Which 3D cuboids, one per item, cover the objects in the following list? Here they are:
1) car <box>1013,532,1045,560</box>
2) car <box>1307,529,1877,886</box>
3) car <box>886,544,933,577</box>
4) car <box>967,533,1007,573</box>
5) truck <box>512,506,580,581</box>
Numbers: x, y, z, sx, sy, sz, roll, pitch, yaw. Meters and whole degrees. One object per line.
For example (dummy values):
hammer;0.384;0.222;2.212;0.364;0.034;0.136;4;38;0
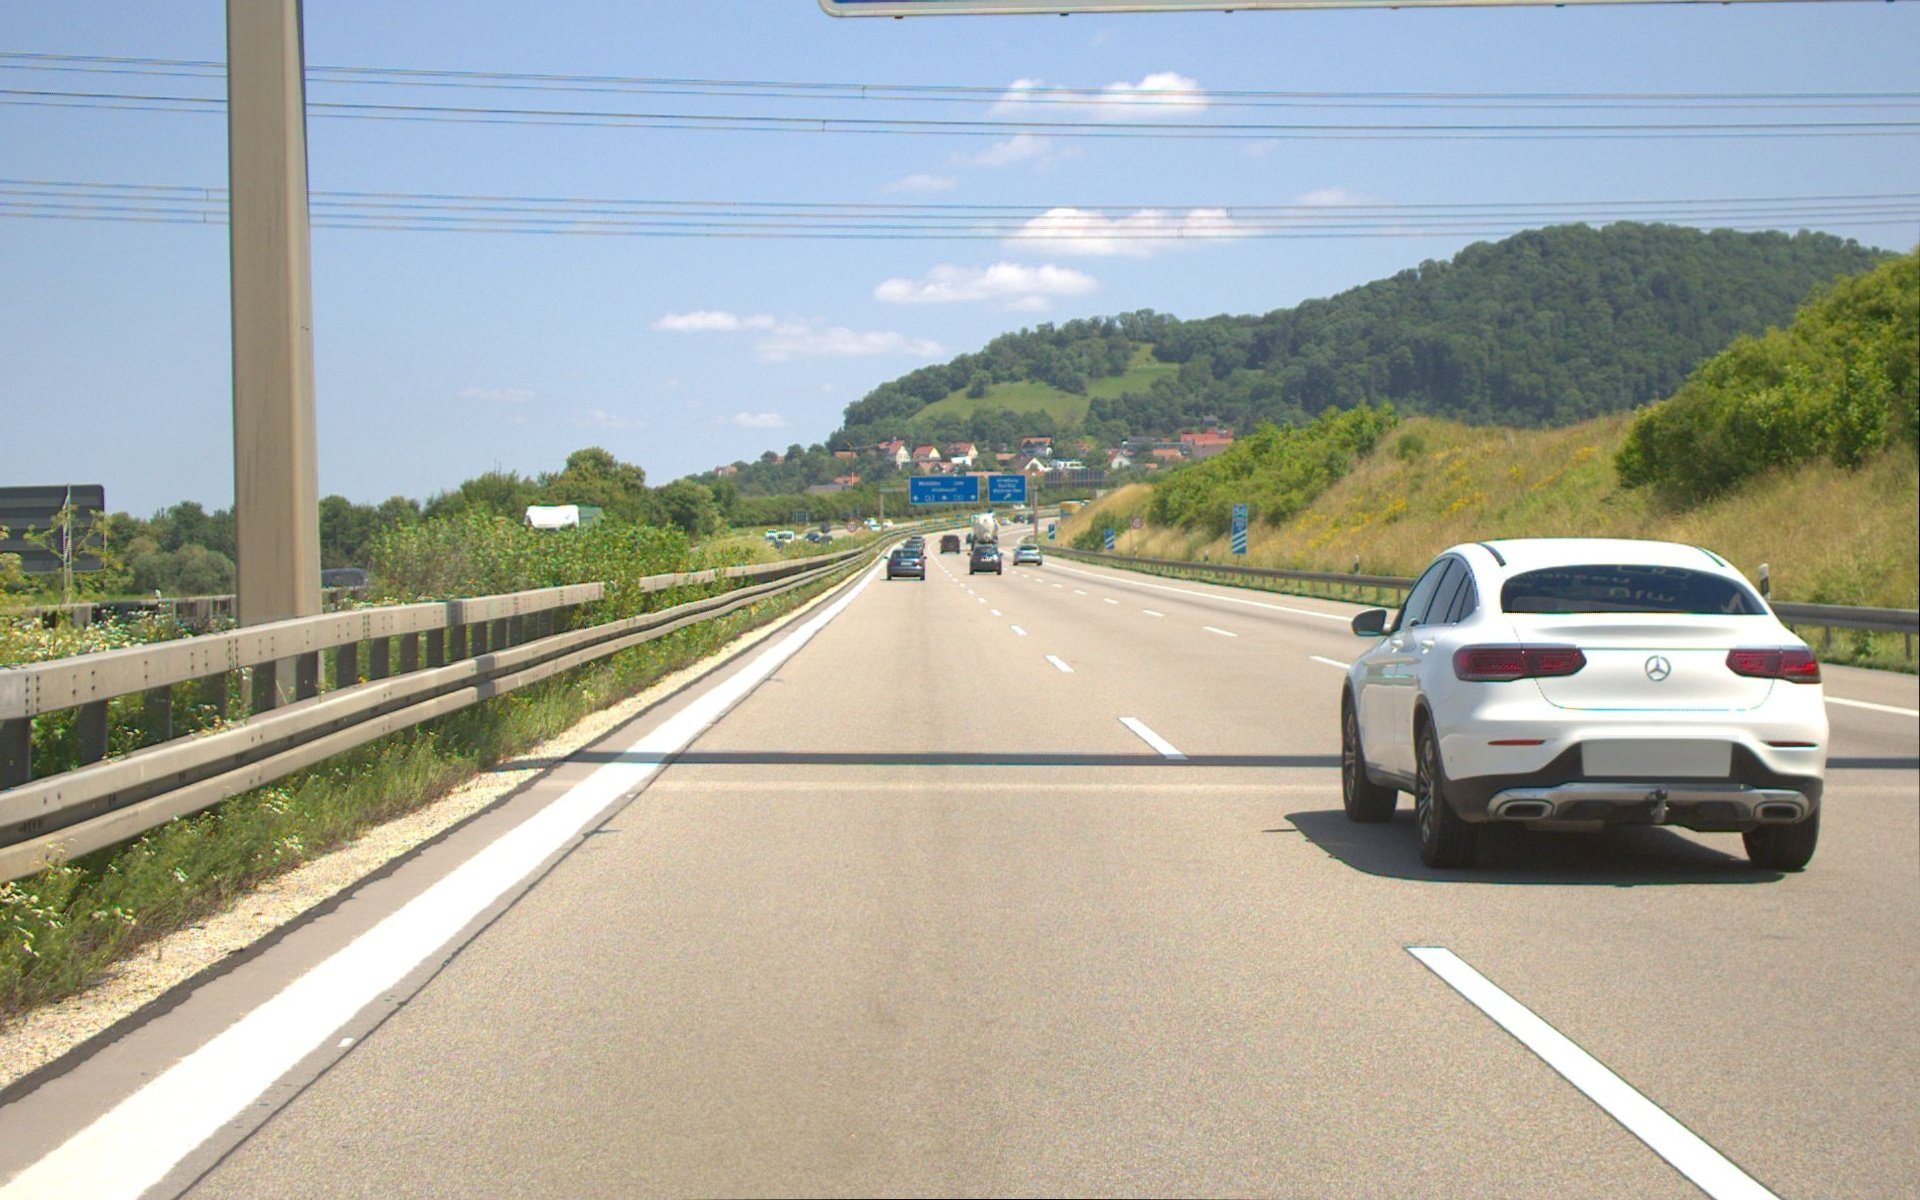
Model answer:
car;4.647;-3.665;231.658;1.993;1.812;4.000;-1;1;0
car;3.107;0.459;18.074;1.914;1.575;5.231;1;1;-1
car;-2.216;-1.741;151.932;1.993;1.384;4.000;1;1;0
car;1.389;-2.428;176.785;1.993;2.007;4.000;1;0;0
truck;-20.127;-2.715;167.474;2.723;3.547;5.901;1;0;-2
